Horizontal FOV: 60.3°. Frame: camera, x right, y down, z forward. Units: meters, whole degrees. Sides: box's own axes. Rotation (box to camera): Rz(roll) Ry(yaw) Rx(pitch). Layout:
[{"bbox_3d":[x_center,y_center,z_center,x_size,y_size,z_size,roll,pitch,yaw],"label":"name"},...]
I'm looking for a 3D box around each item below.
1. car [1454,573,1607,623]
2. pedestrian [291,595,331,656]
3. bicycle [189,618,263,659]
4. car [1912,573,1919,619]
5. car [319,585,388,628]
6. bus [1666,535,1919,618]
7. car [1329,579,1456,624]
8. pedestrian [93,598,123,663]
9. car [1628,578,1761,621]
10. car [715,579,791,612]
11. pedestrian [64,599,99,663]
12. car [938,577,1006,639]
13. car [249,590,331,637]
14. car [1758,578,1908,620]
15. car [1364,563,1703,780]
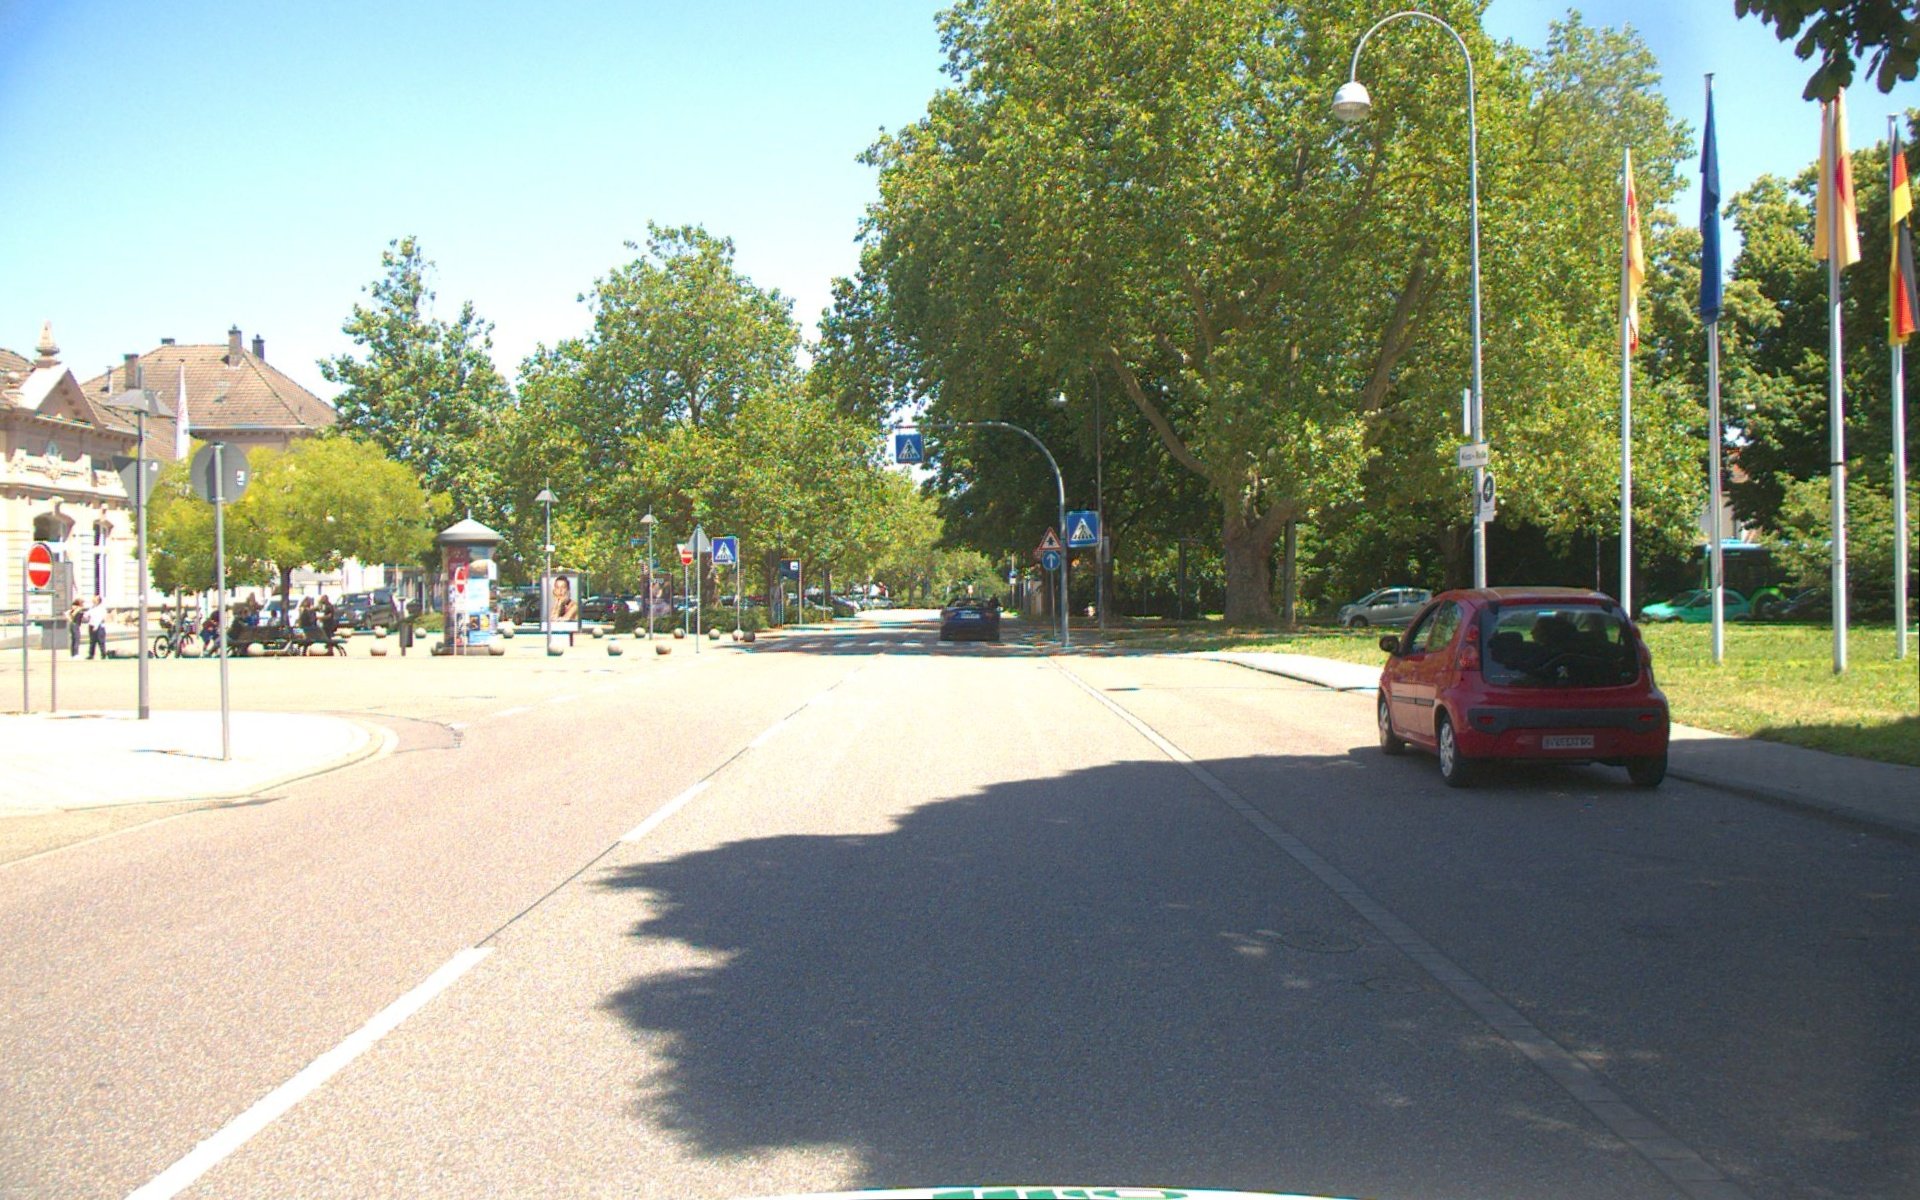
[{"bbox_3d":[20.102,-0.069,58.413,4.722,1.635,2.001,-1,0,3],"label":"car"},{"bbox_3d":[-18.282,0.719,46.587,0.744,1.688,0.721,-2,-2,17],"label":"pedestrian"},{"bbox_3d":[-19.427,1.016,43.812,1.769,1.048,0.485,-1,0,-24],"label":"bicycle"},{"bbox_3d":[36.085,-0.169,58.183,4.012,1.637,2.000,0,-1,1],"label":"car"},{"bbox_3d":[-29.953,0.307,81.860,1.953,2.049,3.999,-1,0,-1],"label":"car"},{"bbox_3d":[33.971,-0.925,64.239,12.125,3.030,2.268,-1,-1,0],"label":"bus"},{"bbox_3d":[15.368,0.043,58.875,4.019,1.492,2.001,-1,0,2],"label":"car"},{"bbox_3d":[-23.004,0.818,44.655,0.578,1.740,0.581,-3,-2,44],"label":"pedestrian"},{"bbox_3d":[25.949,-0.002,58.519,3.800,1.479,2.000,0,-1,1],"label":"car"},{"bbox_3d":[-11.700,-0.240,93.432,3.926,1.813,1.990,-1,0,-18],"label":"car"},{"bbox_3d":[-23.467,0.827,44.189,0.620,1.702,0.653,-3,-2,43],"label":"pedestrian"},{"bbox_3d":[0.336,0.233,52.494,2.082,1.881,4.047,0,0,-1],"label":"car"},{"bbox_3d":[-30.161,0.572,74.616,1.715,1.951,4.775,-1,1,0],"label":"car"},{"bbox_3d":[30.784,-0.034,58.416,4.248,1.441,2.000,0,-1,0],"label":"car"},{"bbox_3d":[4.513,0.505,13.569,1.682,1.504,3.708,-1,0,4],"label":"car"}]
